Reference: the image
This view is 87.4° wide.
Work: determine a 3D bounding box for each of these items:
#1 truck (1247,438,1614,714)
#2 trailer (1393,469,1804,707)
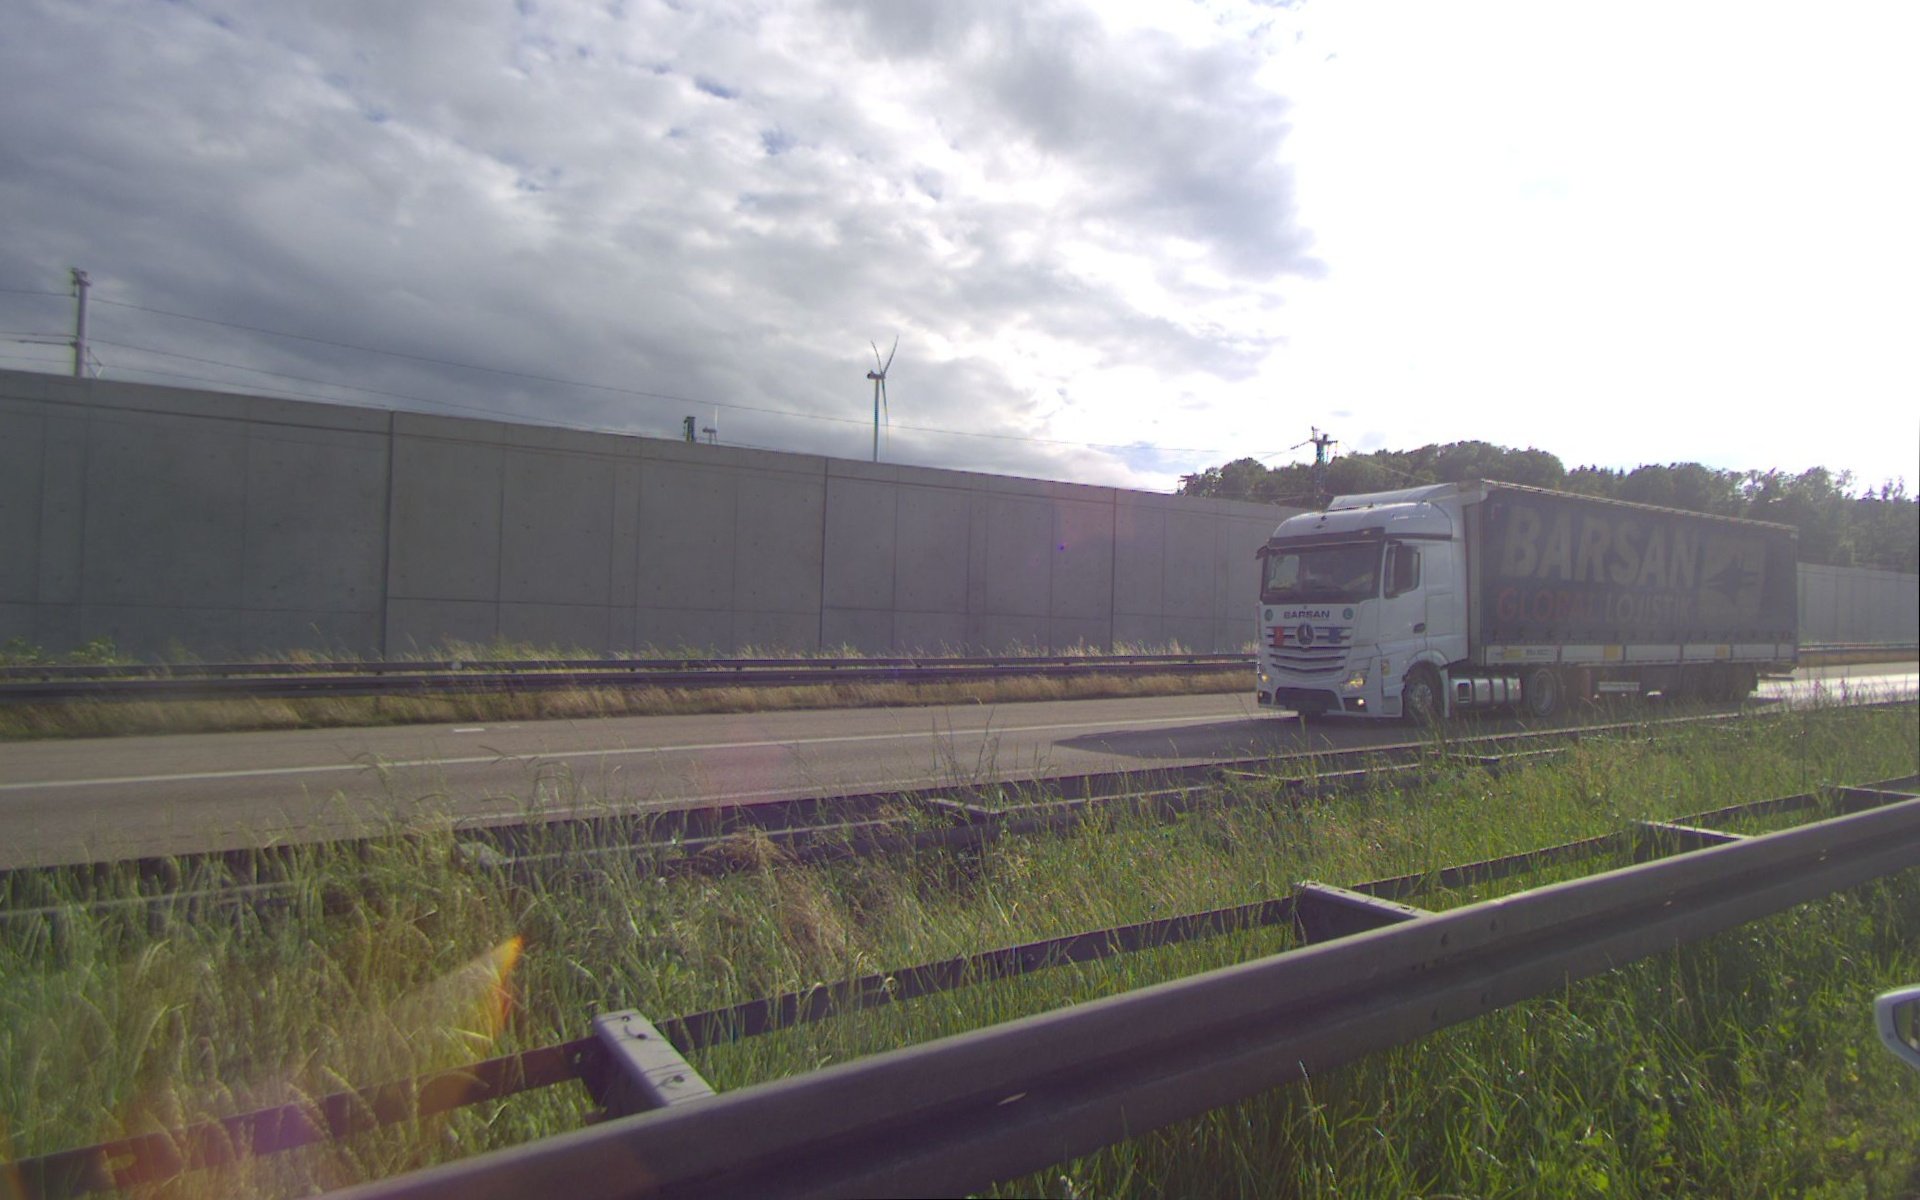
[{"bbox_3d":[8.613,-0.282,18.095,6.926,4.152,2.623,2,0,-32],"label":"truck"},{"bbox_3d":[14.376,-0.047,21.887,12.264,4.135,2.638,2,0,-33],"label":"trailer"}]
